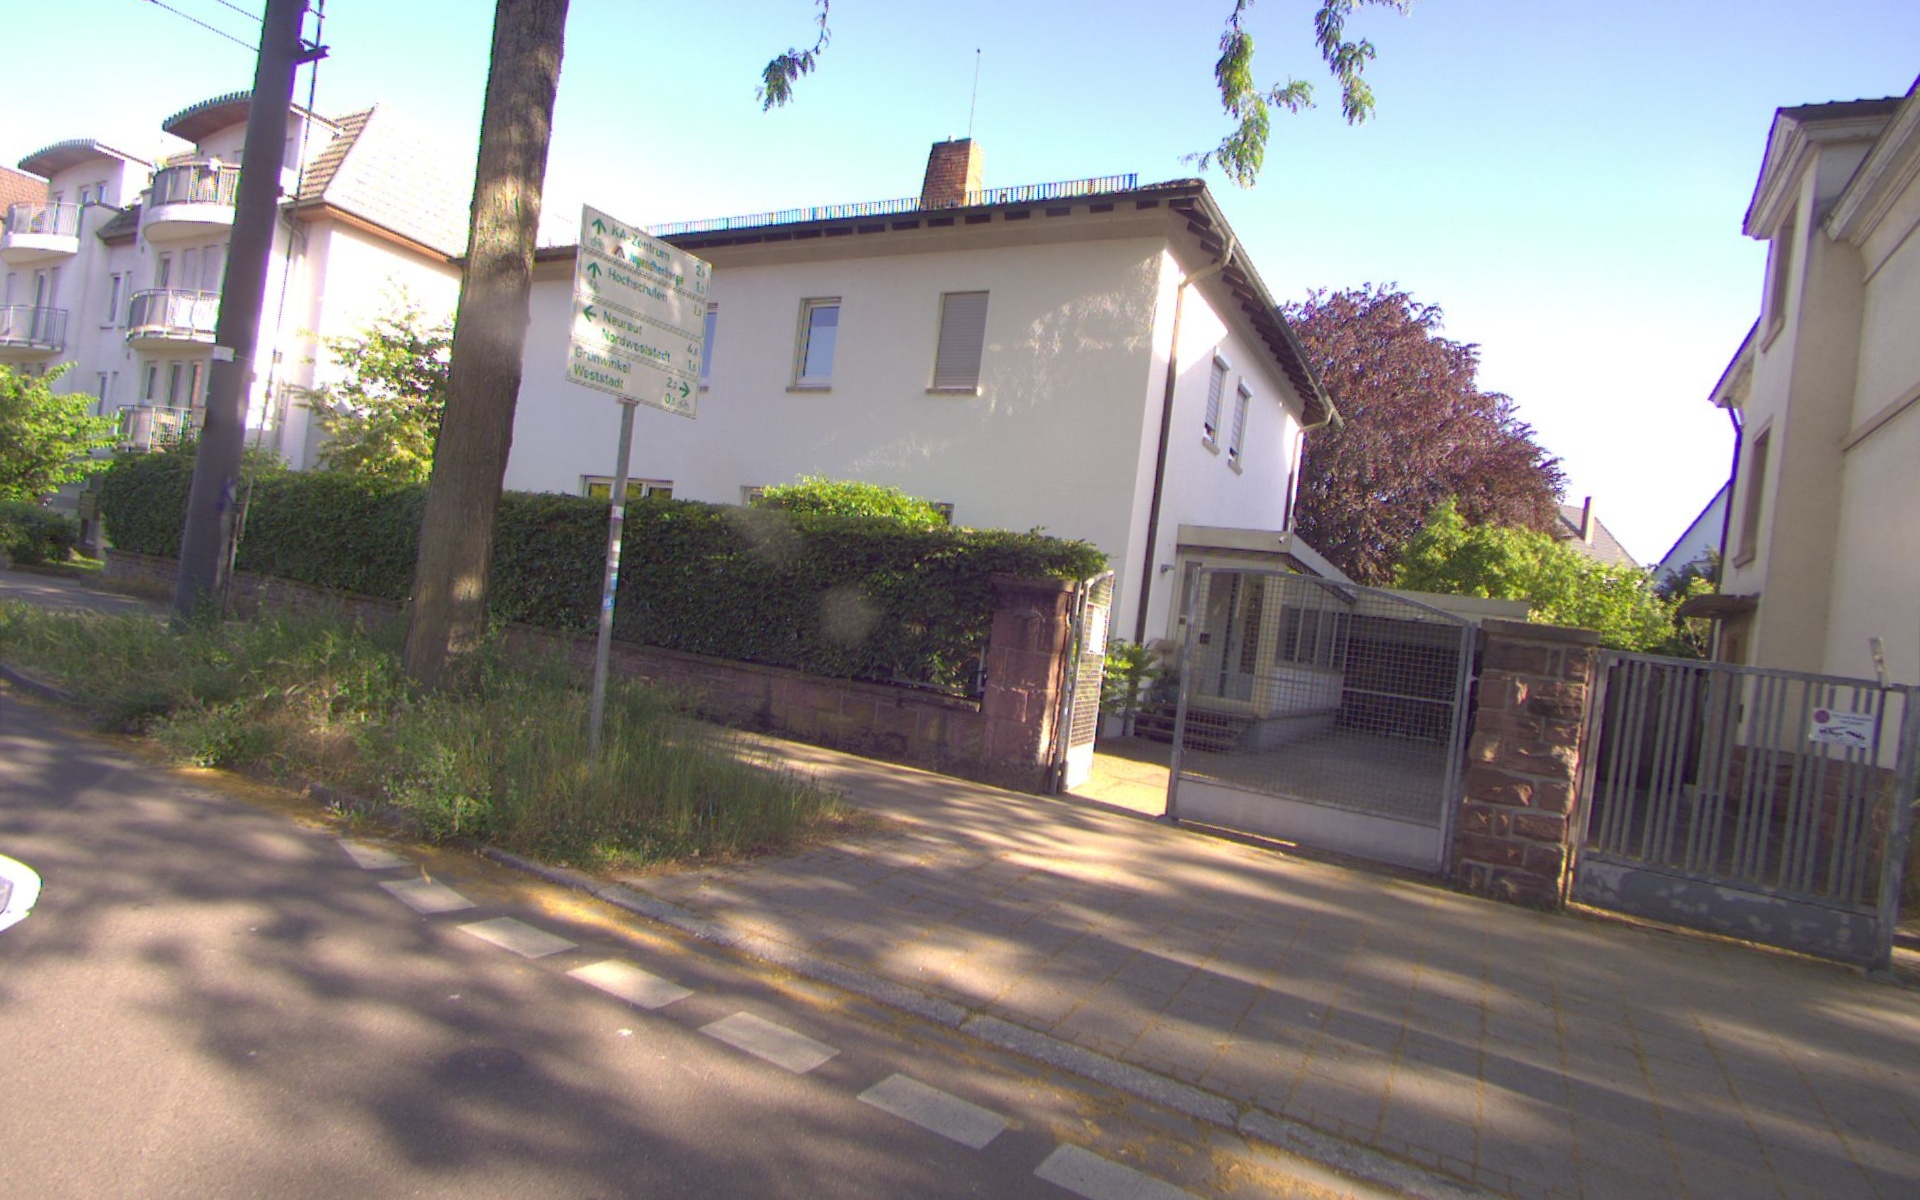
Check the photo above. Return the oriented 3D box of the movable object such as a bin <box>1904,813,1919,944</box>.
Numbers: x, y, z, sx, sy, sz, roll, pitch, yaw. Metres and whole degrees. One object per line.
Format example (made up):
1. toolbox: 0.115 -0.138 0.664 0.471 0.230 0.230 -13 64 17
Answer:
1. movable object such as a bin: 7.235 1.958 7.117 0.652 1.060 0.640 8 -1 -39
